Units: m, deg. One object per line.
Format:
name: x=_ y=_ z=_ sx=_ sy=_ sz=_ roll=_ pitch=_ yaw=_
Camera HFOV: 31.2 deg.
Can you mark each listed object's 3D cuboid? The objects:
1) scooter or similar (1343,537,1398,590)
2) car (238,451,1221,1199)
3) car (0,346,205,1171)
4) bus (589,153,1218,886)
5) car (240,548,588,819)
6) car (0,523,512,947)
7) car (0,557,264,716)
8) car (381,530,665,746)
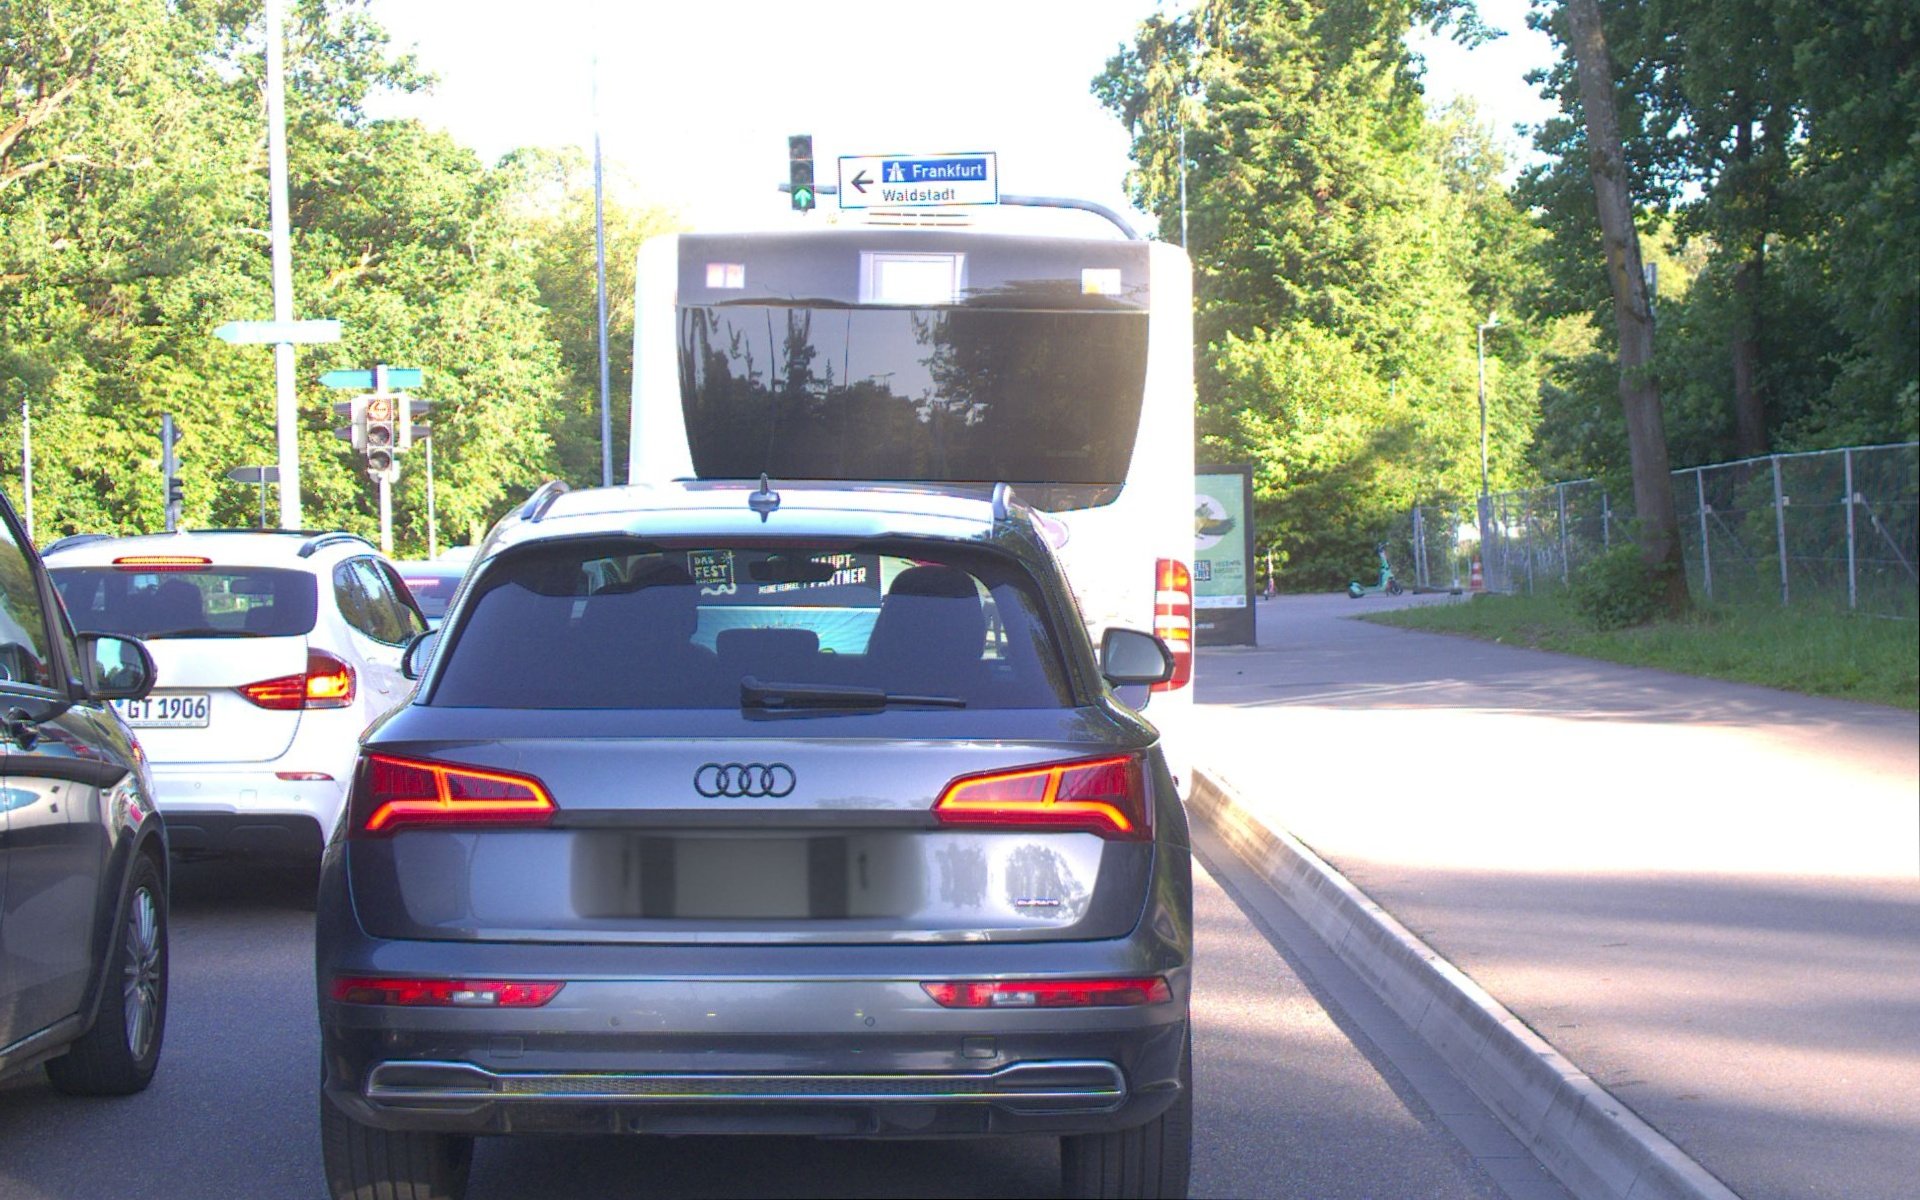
scooter or similar: x=9.305 y=-0.825 z=77.957 sx=1.184 sy=1.170 sz=0.659 roll=1 pitch=1 yaw=11
car: x=-0.467 y=0.500 z=8.597 sx=1.868 sy=1.658 sz=4.000 roll=1 pitch=2 yaw=-1
car: x=-3.095 y=0.350 z=7.443 sx=1.907 sy=1.849 sz=4.873 roll=1 pitch=1 yaw=-1
bus: x=-0.215 y=-0.428 z=17.802 sx=2.678 sy=3.131 sz=5.882 roll=1 pitch=2 yaw=1
car: x=-3.275 y=0.438 z=21.305 sx=1.785 sy=1.439 sz=4.279 roll=1 pitch=2 yaw=-5
car: x=-3.107 y=0.463 z=15.142 sx=1.718 sy=1.575 sz=4.434 roll=1 pitch=1 yaw=-1
car: x=-7.803 y=0.301 z=32.447 sx=1.600 sy=1.391 sz=3.843 roll=1 pitch=1 yaw=1
car: x=-3.447 y=0.241 z=27.750 sx=1.808 sy=1.567 sz=4.000 roll=1 pitch=2 yaw=-1
